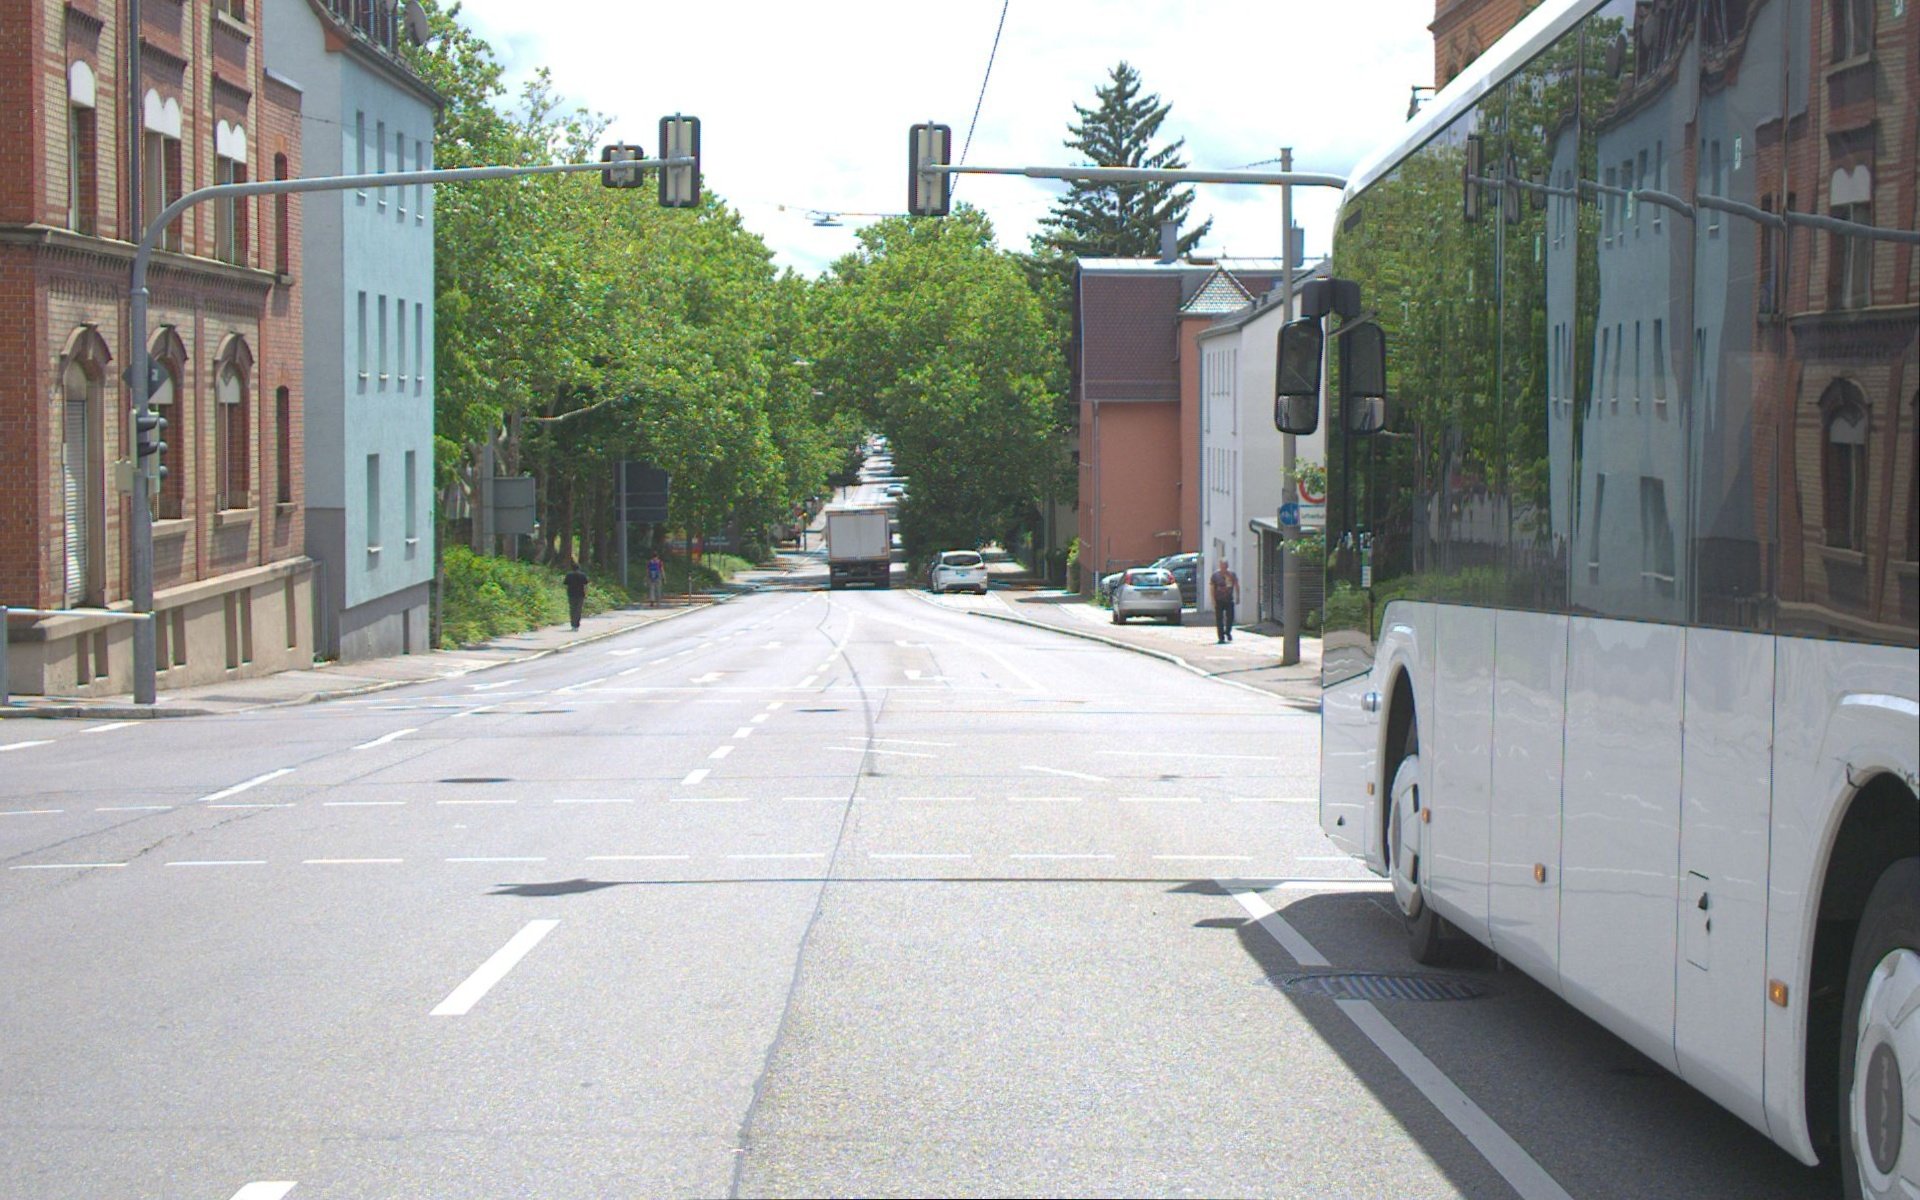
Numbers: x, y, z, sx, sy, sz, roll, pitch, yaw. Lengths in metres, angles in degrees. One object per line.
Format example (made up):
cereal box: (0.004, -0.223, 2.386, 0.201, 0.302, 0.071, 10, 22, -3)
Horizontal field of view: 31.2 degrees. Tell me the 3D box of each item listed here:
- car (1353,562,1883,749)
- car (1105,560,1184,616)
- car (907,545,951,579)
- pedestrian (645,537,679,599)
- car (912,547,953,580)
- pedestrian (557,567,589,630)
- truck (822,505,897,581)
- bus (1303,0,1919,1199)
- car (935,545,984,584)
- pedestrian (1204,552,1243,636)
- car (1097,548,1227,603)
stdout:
car: (5.366, 0.425, 28.000, 3.991, 1.422, 1.702, 0, 1, 21)
car: (4.966, -0.353, 93.076, 1.794, 1.405, 4.001, -1, 1, -2)
car: (-1.311, -1.626, 145.829, 1.794, 1.405, 4.419, 1, 1, 0)
pedestrian: (-9.823, -1.051, 113.310, 0.995, 2.007, 1.189, -1, 1, -1)
car: (-1.213, -1.634, 153.936, 1.794, 1.405, 4.419, 1, 1, 0)
pedestrian: (-9.565, -0.043, 85.051, 0.729, 1.560, 0.561, 0, 1, -1)
truck: (-4.275, -2.417, 144.477, 2.926, 3.070, 7.886, -1, 1, -3)
bus: (2.961, -0.147, 9.220, 2.672, 3.145, 12.462, 1, 1, -1)
car: (-0.039, -1.342, 129.462, 1.794, 1.405, 4.000, 1, 1, -1)
pedestrian: (5.539, -0.126, 72.329, 0.738, 1.744, 0.619, -1, 1, -1)
car: (6.639, -0.810, 113.174, 3.986, 1.751, 2.000, -1, 1, -5)
